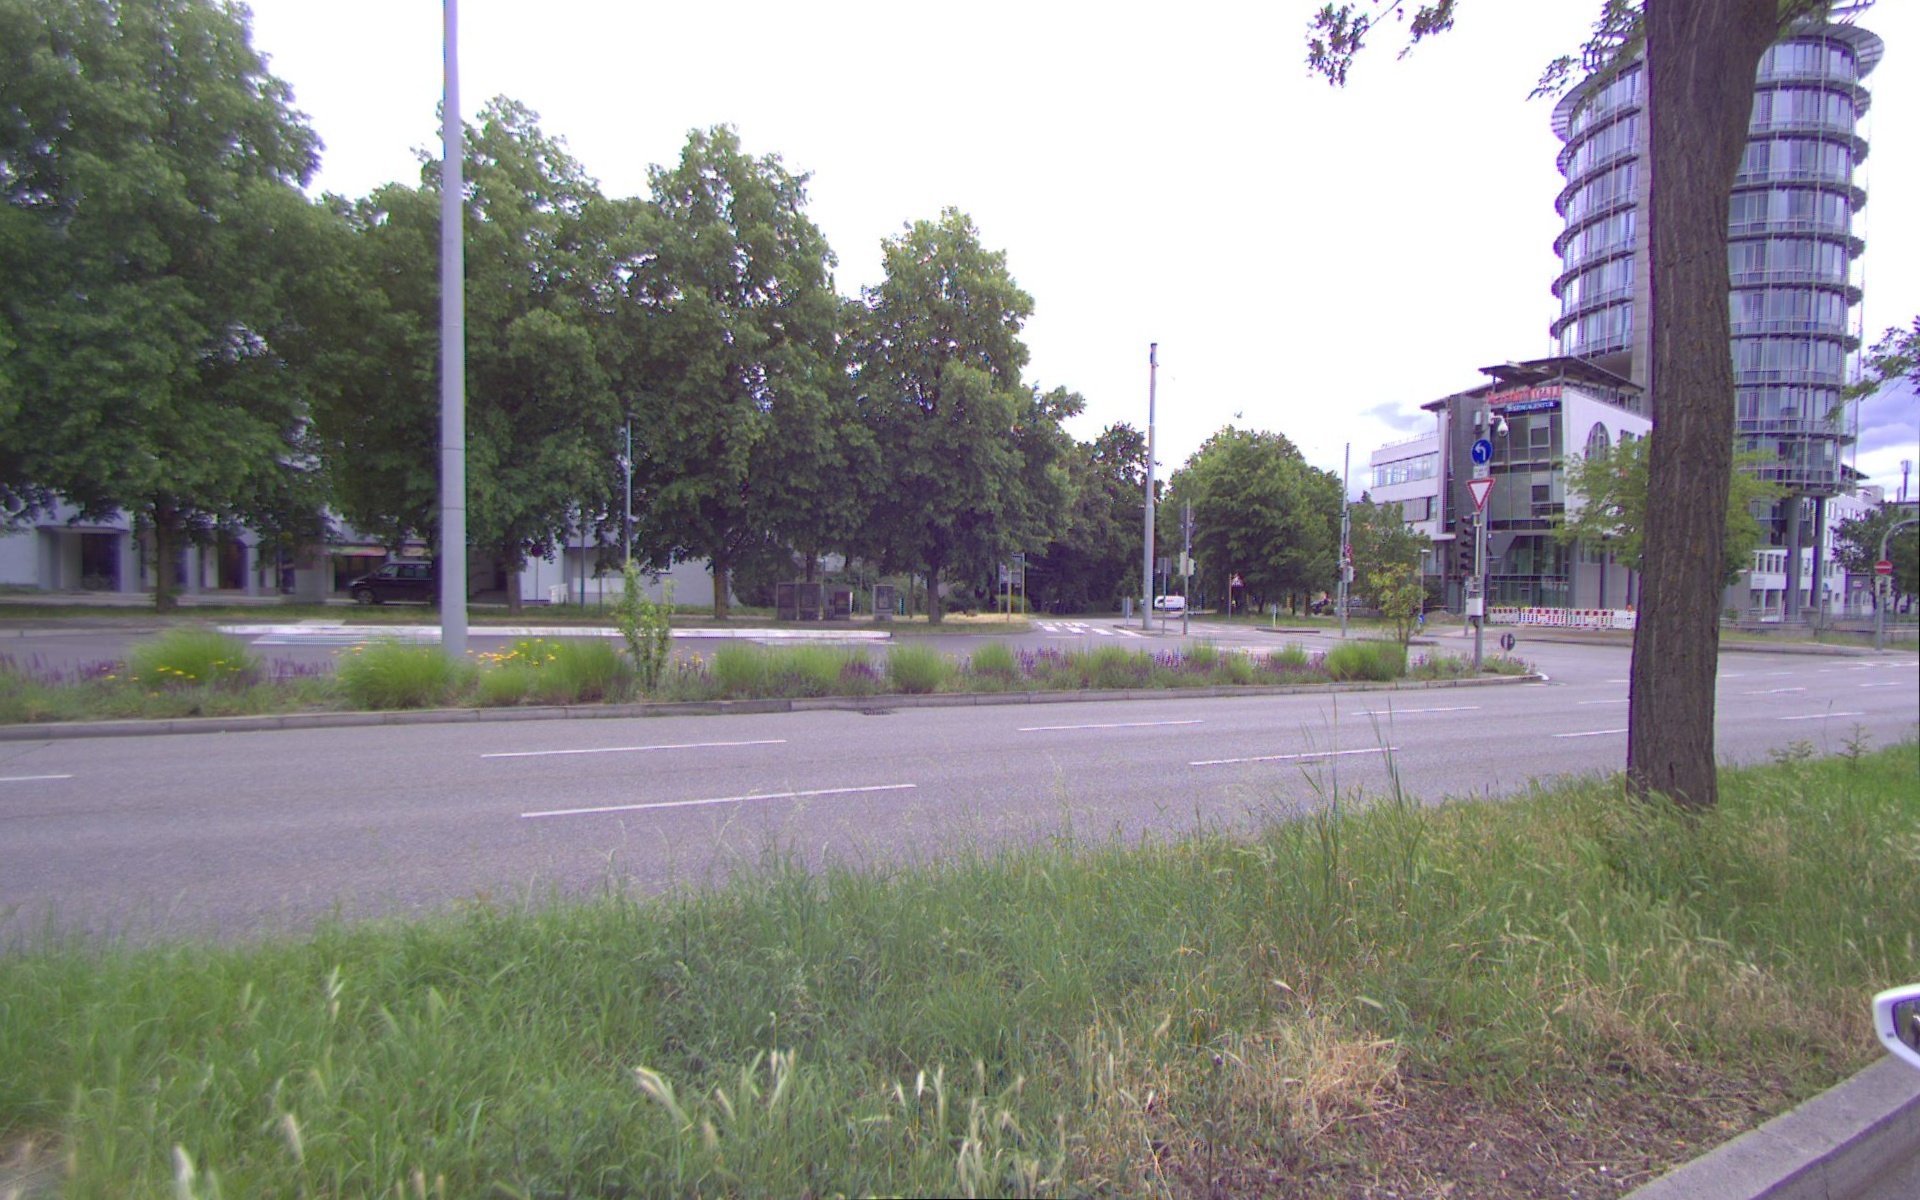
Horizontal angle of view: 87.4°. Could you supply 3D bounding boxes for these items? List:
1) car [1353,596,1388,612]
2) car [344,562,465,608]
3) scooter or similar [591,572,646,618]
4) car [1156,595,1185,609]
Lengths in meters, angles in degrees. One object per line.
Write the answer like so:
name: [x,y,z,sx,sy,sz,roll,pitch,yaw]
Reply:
car: [23.969,0.239,58.665,1.684,0.888,0.776,1,0,7]
car: [-24.402,-0.641,44.267,4.345,1.872,1.781,1,1,-16]
scooter or similar: [-12.961,-0.189,38.158,1.835,1.686,0.645,1,1,-43]
car: [36.668,0.309,174.846,4.475,2.370,1.994,2,0,-15]
